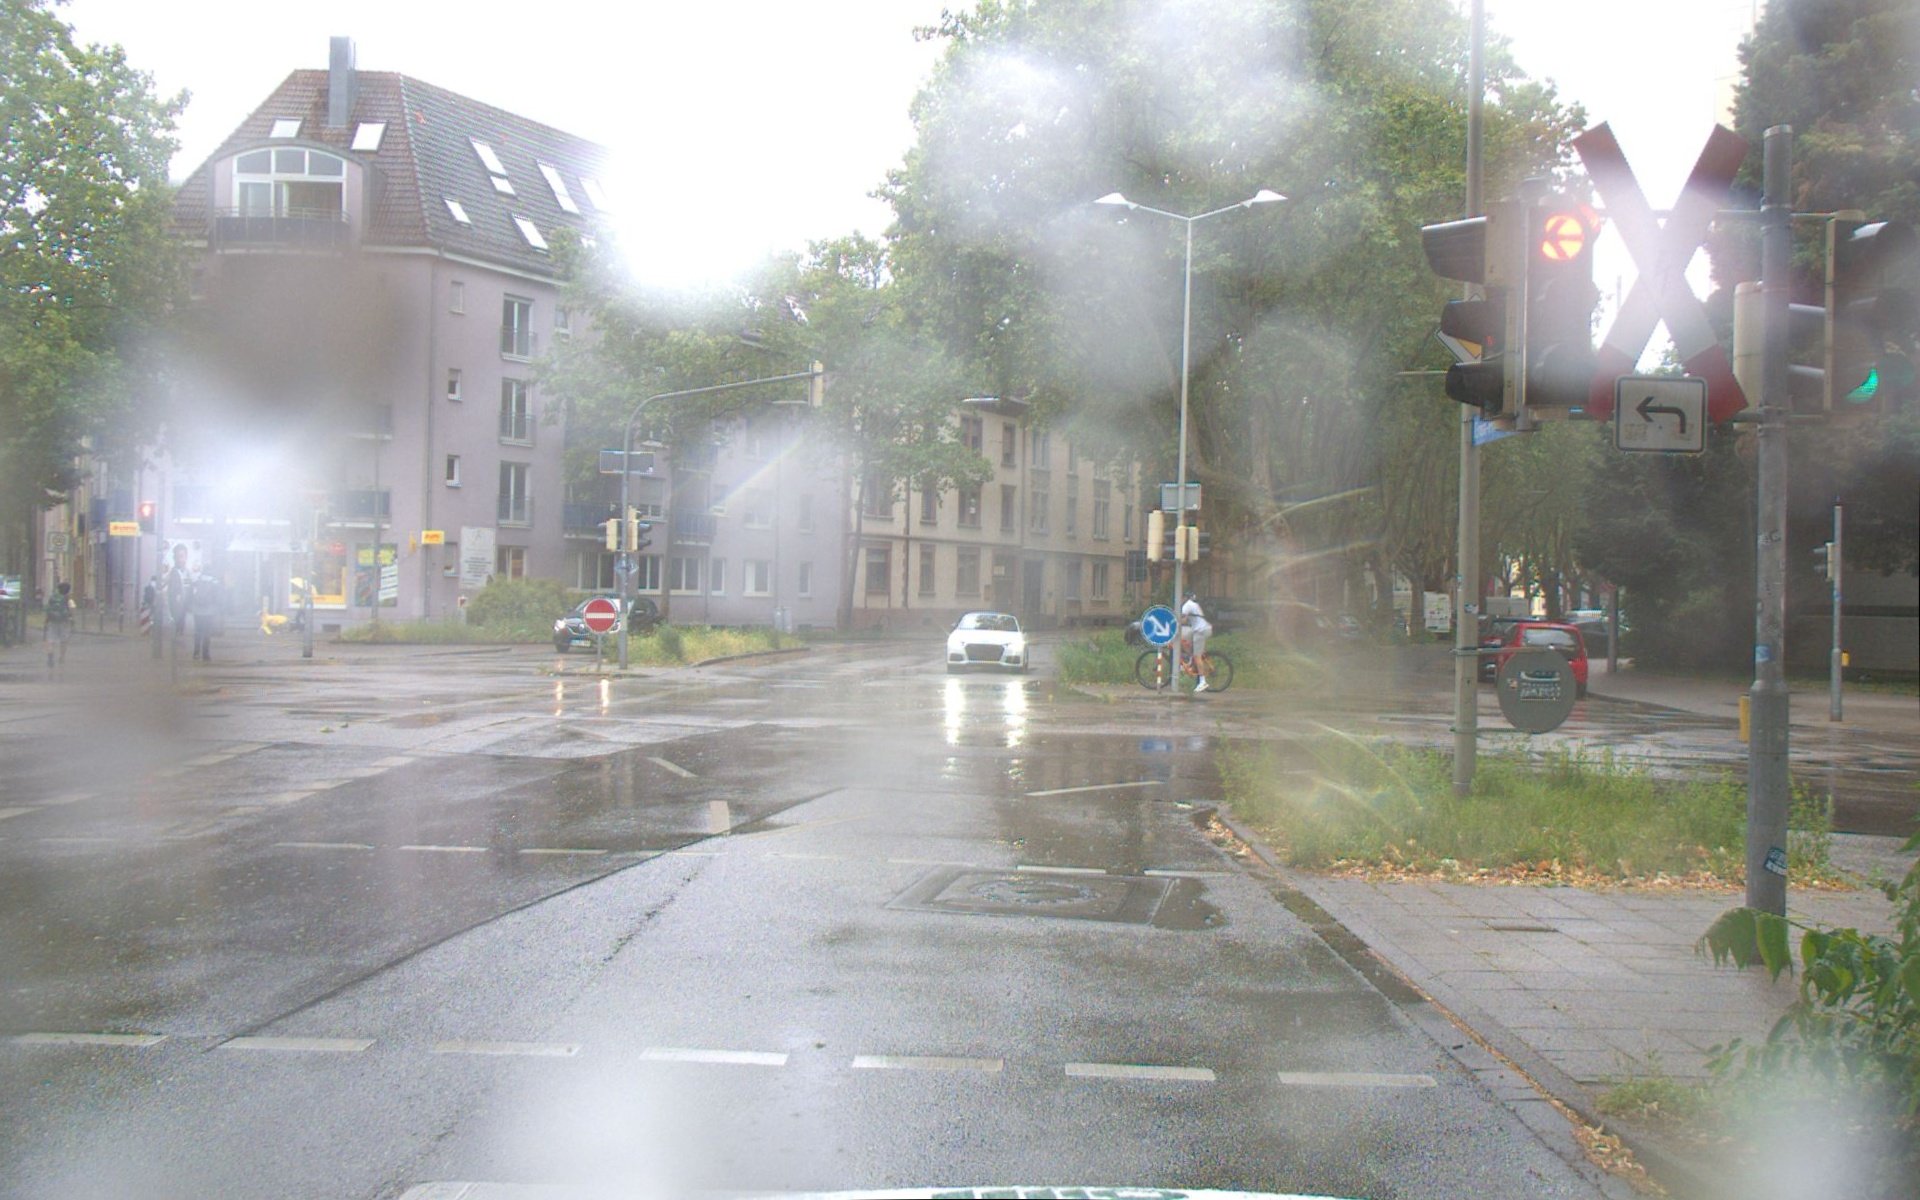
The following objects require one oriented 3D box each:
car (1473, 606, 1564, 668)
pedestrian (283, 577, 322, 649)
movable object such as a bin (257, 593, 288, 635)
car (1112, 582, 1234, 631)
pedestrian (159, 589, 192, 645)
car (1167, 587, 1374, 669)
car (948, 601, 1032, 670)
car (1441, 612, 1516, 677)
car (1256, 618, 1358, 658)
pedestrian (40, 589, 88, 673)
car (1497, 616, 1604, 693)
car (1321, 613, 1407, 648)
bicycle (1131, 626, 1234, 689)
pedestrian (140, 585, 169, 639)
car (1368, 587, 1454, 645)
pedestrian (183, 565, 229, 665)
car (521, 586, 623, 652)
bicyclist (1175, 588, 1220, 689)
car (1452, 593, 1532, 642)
[{"bbox_3d":[13.891,0.879,41.302,1.745,1.371,3.932,1,1,13],"label":"car"},{"bbox_3d":[-20.306,0.414,51.065,0.891,2.188,0.885,1,-1,-8],"label":"pedestrian"},{"bbox_3d":[-21.162,0.434,50.920,0.736,1.258,0.666,1,-1,-9],"label":"movable object such as a bin"},{"bbox_3d":[6.972,0.213,53.964,3.784,1.512,1.717,1,0,12],"label":"car"},{"bbox_3d":[-21.946,0.469,46.281,0.739,1.560,0.786,1,-1,-22],"label":"pedestrian"},{"bbox_3d":[6.153,0.535,32.816,3.902,1.512,2.002,1,0,12],"label":"car"},{"bbox_3d":[0.721,0.800,39.104,1.845,1.461,4.001,1,0,1],"label":"car"},{"bbox_3d":[15.032,1.257,48.114,1.745,1.757,4.003,1,0,13],"label":"car"},{"bbox_3d":[13.767,1.493,65.641,3.902,1.512,2.002,1,0,12],"label":"car"},{"bbox_3d":[-15.452,0.523,28.518,0.643,1.420,0.773,1,0,-35],"label":"pedestrian"},{"bbox_3d":[13.045,1.164,36.732,1.754,1.524,4.003,1,0,13],"label":"car"},{"bbox_3d":[19.257,1.443,78.923,3.902,1.574,2.002,1,0,12],"label":"car"},{"bbox_3d":[4.091,1.052,30.444,1.833,1.100,0.657,1,0,7],"label":"bicycle"},{"bbox_3d":[-24.633,0.353,50.572,0.667,1.628,0.957,1,-1,-32],"label":"pedestrian"},{"bbox_3d":[23.950,0.849,88.066,2.005,2.999,4.742,1,0,-21],"label":"car"},{"bbox_3d":[-14.530,0.290,31.885,0.777,1.888,0.676,1,0,-25],"label":"pedestrian"},{"bbox_3d":[-9.631,0.448,41.342,1.716,1.538,3.838,1,0,-2],"label":"car"},{"bbox_3d":[4.356,0.698,30.417,0.778,1.817,0.697,1,-1,7],"label":"bicyclist"},{"bbox_3d":[33.666,1.086,104.809,1.974,2.999,4.720,1,0,-31],"label":"car"}]
